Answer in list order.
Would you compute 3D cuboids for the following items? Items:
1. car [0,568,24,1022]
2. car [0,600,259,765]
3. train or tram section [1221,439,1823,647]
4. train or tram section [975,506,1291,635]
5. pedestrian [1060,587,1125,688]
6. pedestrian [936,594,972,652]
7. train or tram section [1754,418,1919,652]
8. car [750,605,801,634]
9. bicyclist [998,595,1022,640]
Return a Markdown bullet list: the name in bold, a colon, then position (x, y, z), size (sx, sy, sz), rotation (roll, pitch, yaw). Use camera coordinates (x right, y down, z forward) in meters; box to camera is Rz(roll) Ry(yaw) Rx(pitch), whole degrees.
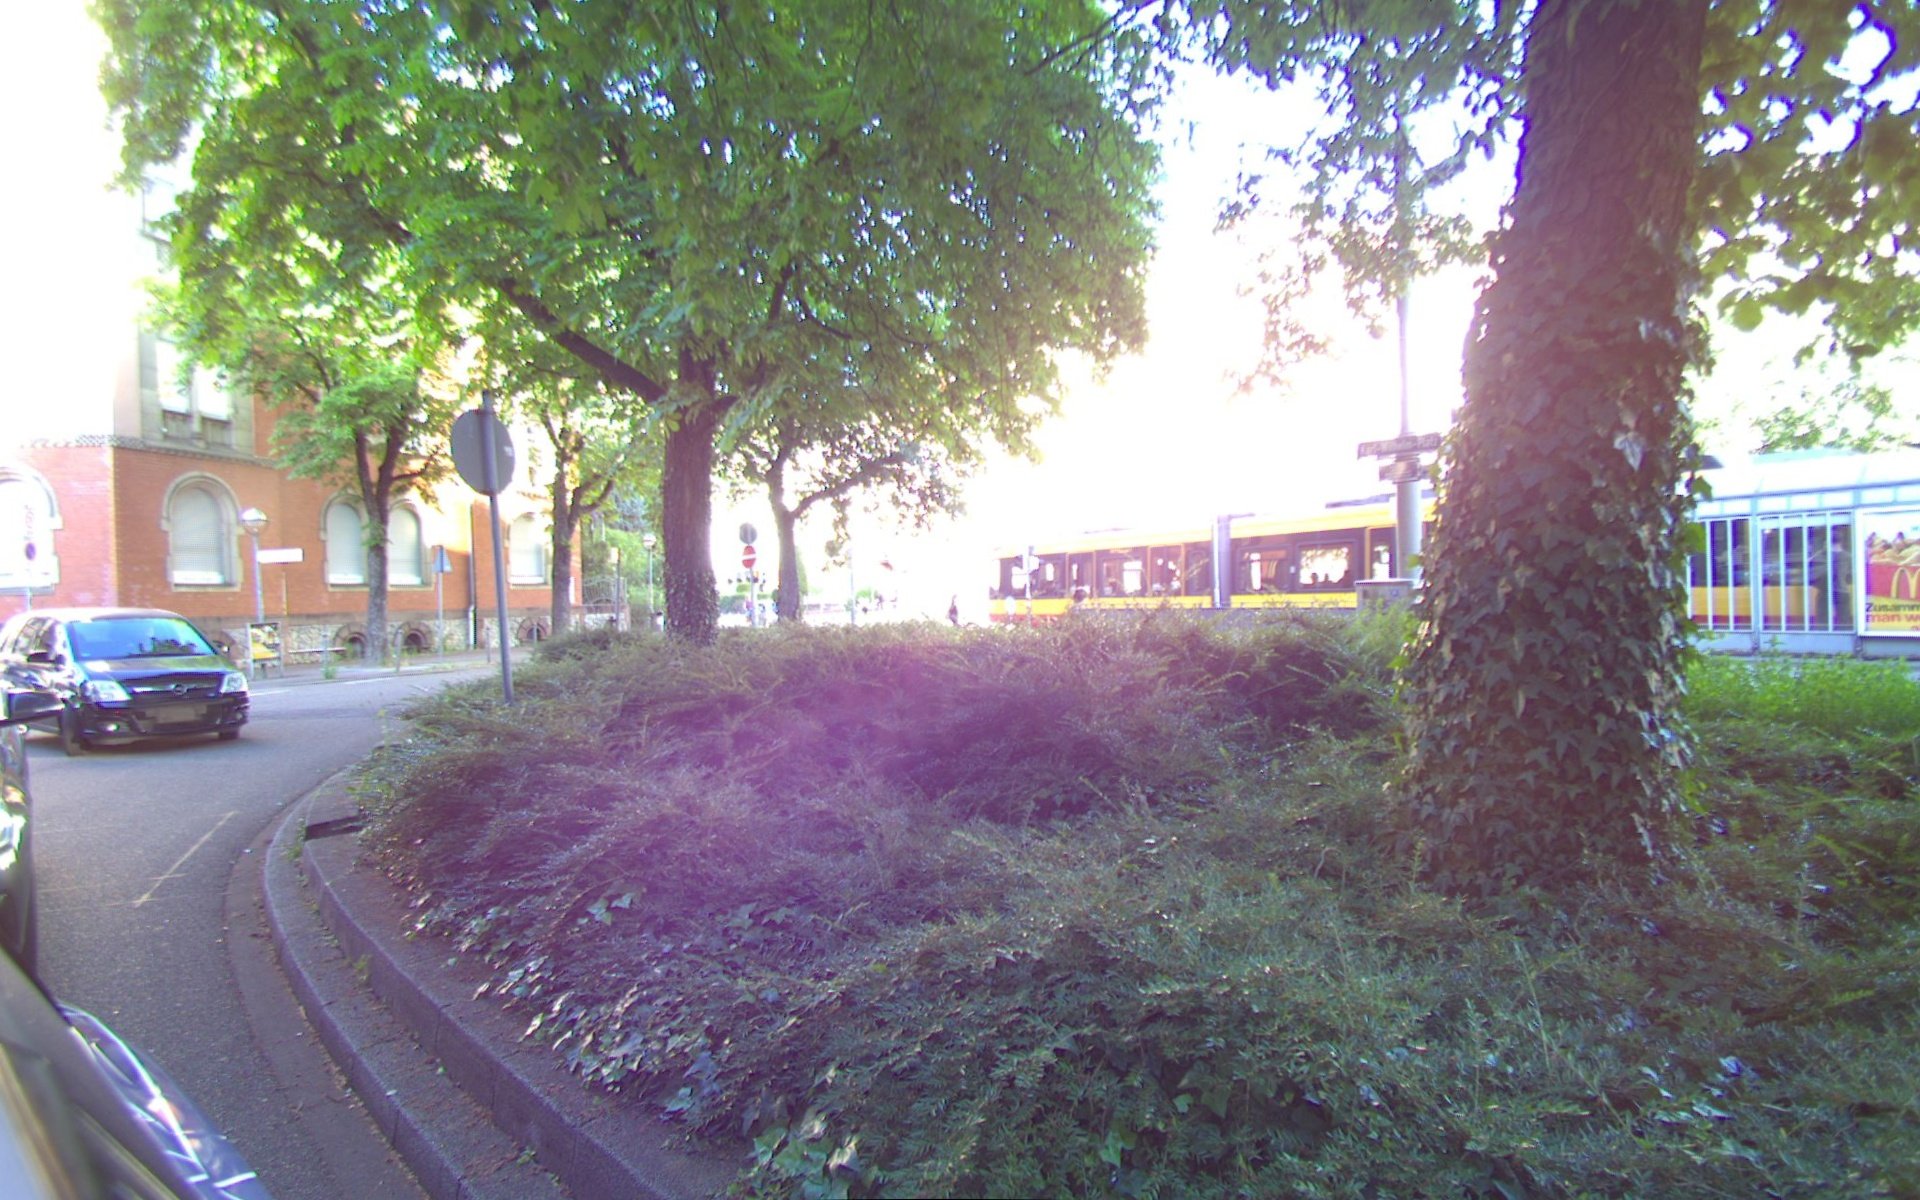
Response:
- **car**: position (-5.426, 0.733, 4.531), size (1.768, 1.590, 4.264), rotation (-1, -1, -43)
- **car**: position (-10.094, 0.887, 12.067), size (3.679, 1.640, 1.661), rotation (-2, 0, 35)
- **train or tram section**: position (11.759, -0.952, 23.619), size (2.739, 3.614, 12.456), rotation (-2, 0, -32)
- **train or tram section**: position (5.139, -0.788, 34.331), size (2.727, 3.584, 12.718), rotation (-2, 0, -32)
- **pedestrian**: position (1.970, 0.540, 15.092), size (0.698, 1.454, 0.602), rotation (-2, 0, -25)
- **pedestrian**: position (-0.174, 0.686, 30.490), size (0.721, 1.647, 0.898), rotation (-3, 1, 23)
- **train or tram section**: position (18.143, -1.103, 13.305), size (2.753, 3.647, 11.835), rotation (-2, 0, -32)
- **car**: position (-9.781, 1.023, 53.483), size (1.707, 1.428, 4.013), rotation (-2, 0, -25)
- **bicyclist**: position (1.767, 0.625, 35.895), size (0.588, 1.585, 0.557), rotation (-2, 0, -30)
